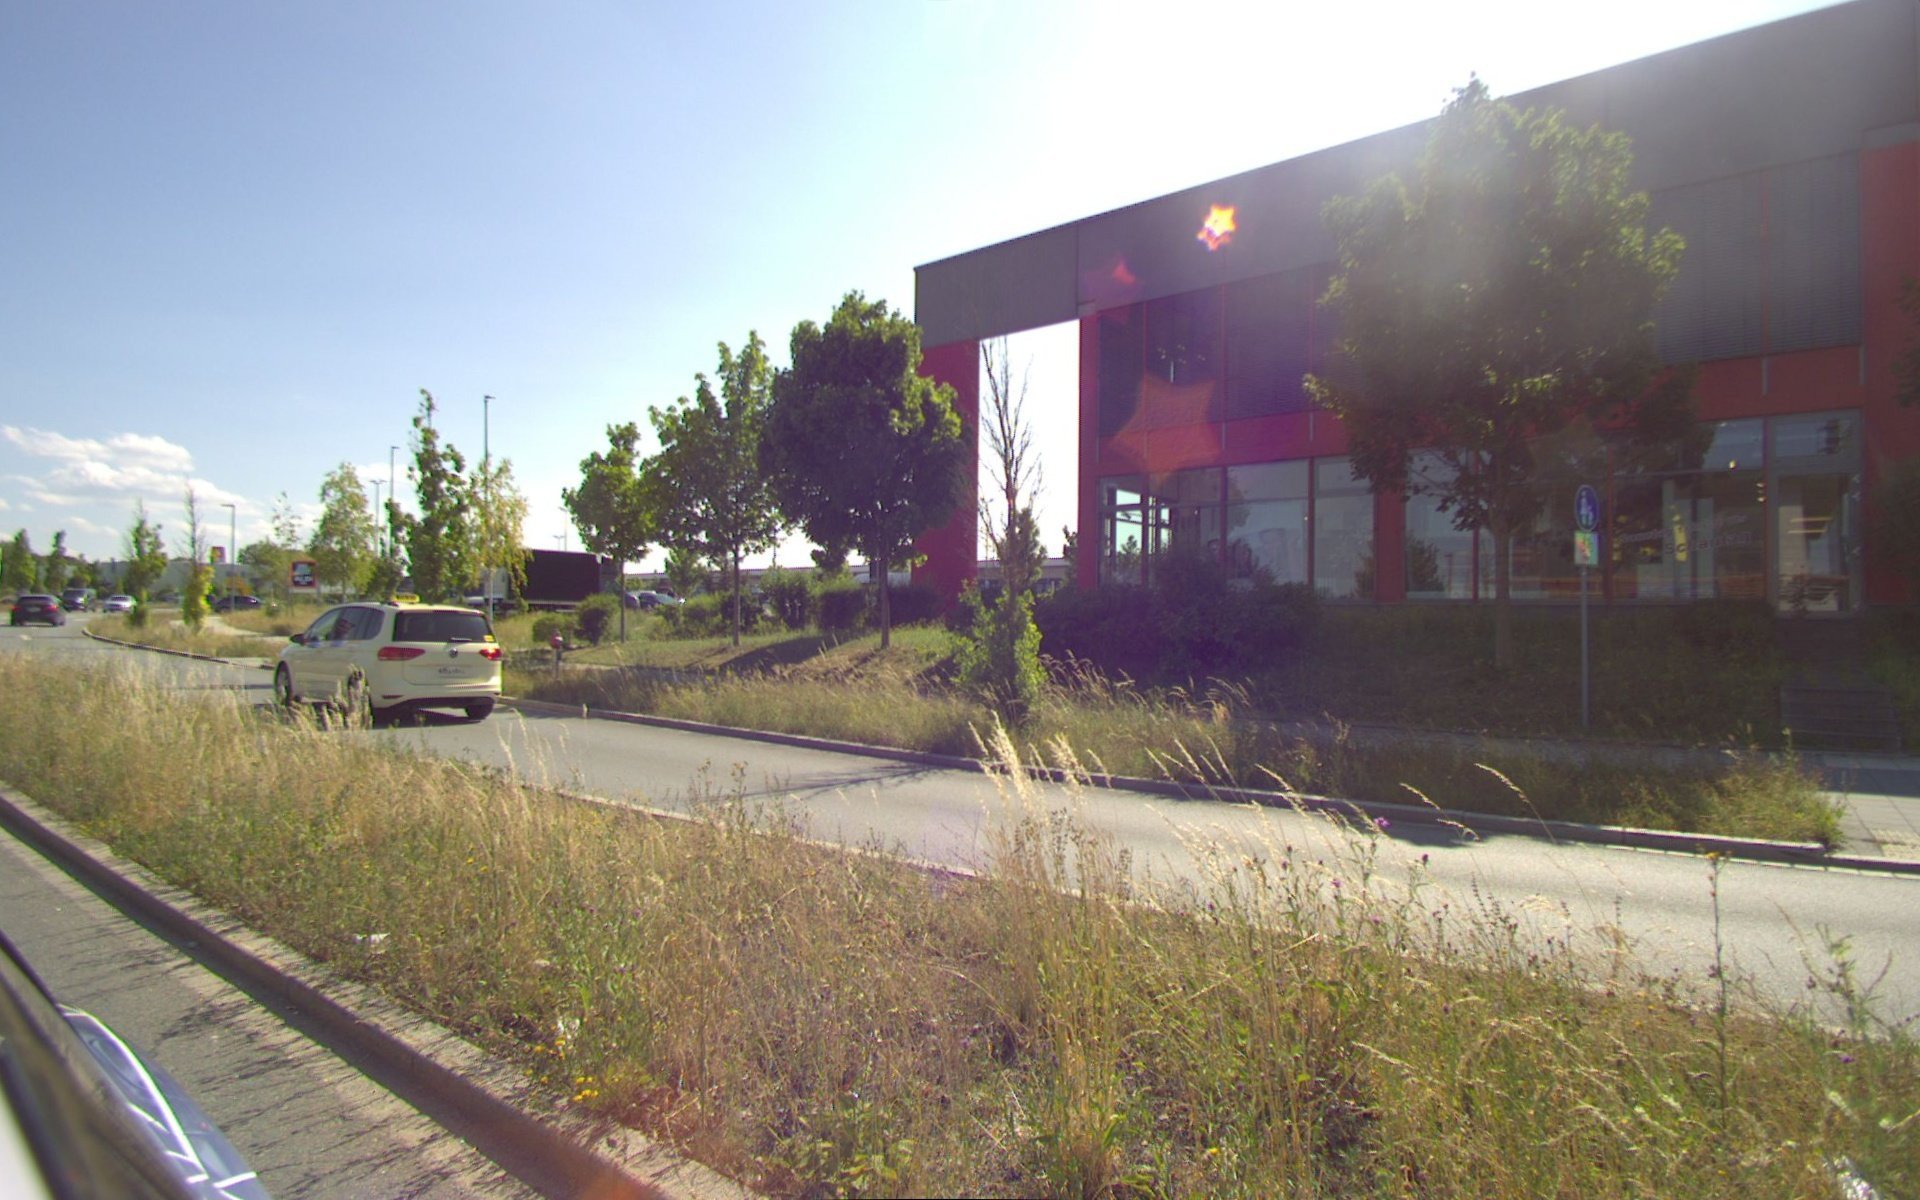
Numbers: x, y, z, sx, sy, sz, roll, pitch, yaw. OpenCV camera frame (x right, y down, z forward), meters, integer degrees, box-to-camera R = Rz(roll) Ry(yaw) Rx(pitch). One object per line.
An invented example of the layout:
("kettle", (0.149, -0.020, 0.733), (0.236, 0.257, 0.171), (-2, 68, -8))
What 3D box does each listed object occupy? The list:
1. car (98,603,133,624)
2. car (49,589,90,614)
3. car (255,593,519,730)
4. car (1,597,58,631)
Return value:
("car", (-70.871, 1.160, 84.973), (1.967, 1.697, 4.010), (1, -1, -36))
("car", (-76.214, 0.086, 86.659), (2.046, 2.064, 4.695), (-1, 1, -35))
("car", (-8.421, 0.819, 14.751), (4.151, 1.728, 1.839), (0, -3, 38))
("car", (-45.951, 0.700, 50.030), (1.969, 1.630, 4.005), (2, -2, -42))
